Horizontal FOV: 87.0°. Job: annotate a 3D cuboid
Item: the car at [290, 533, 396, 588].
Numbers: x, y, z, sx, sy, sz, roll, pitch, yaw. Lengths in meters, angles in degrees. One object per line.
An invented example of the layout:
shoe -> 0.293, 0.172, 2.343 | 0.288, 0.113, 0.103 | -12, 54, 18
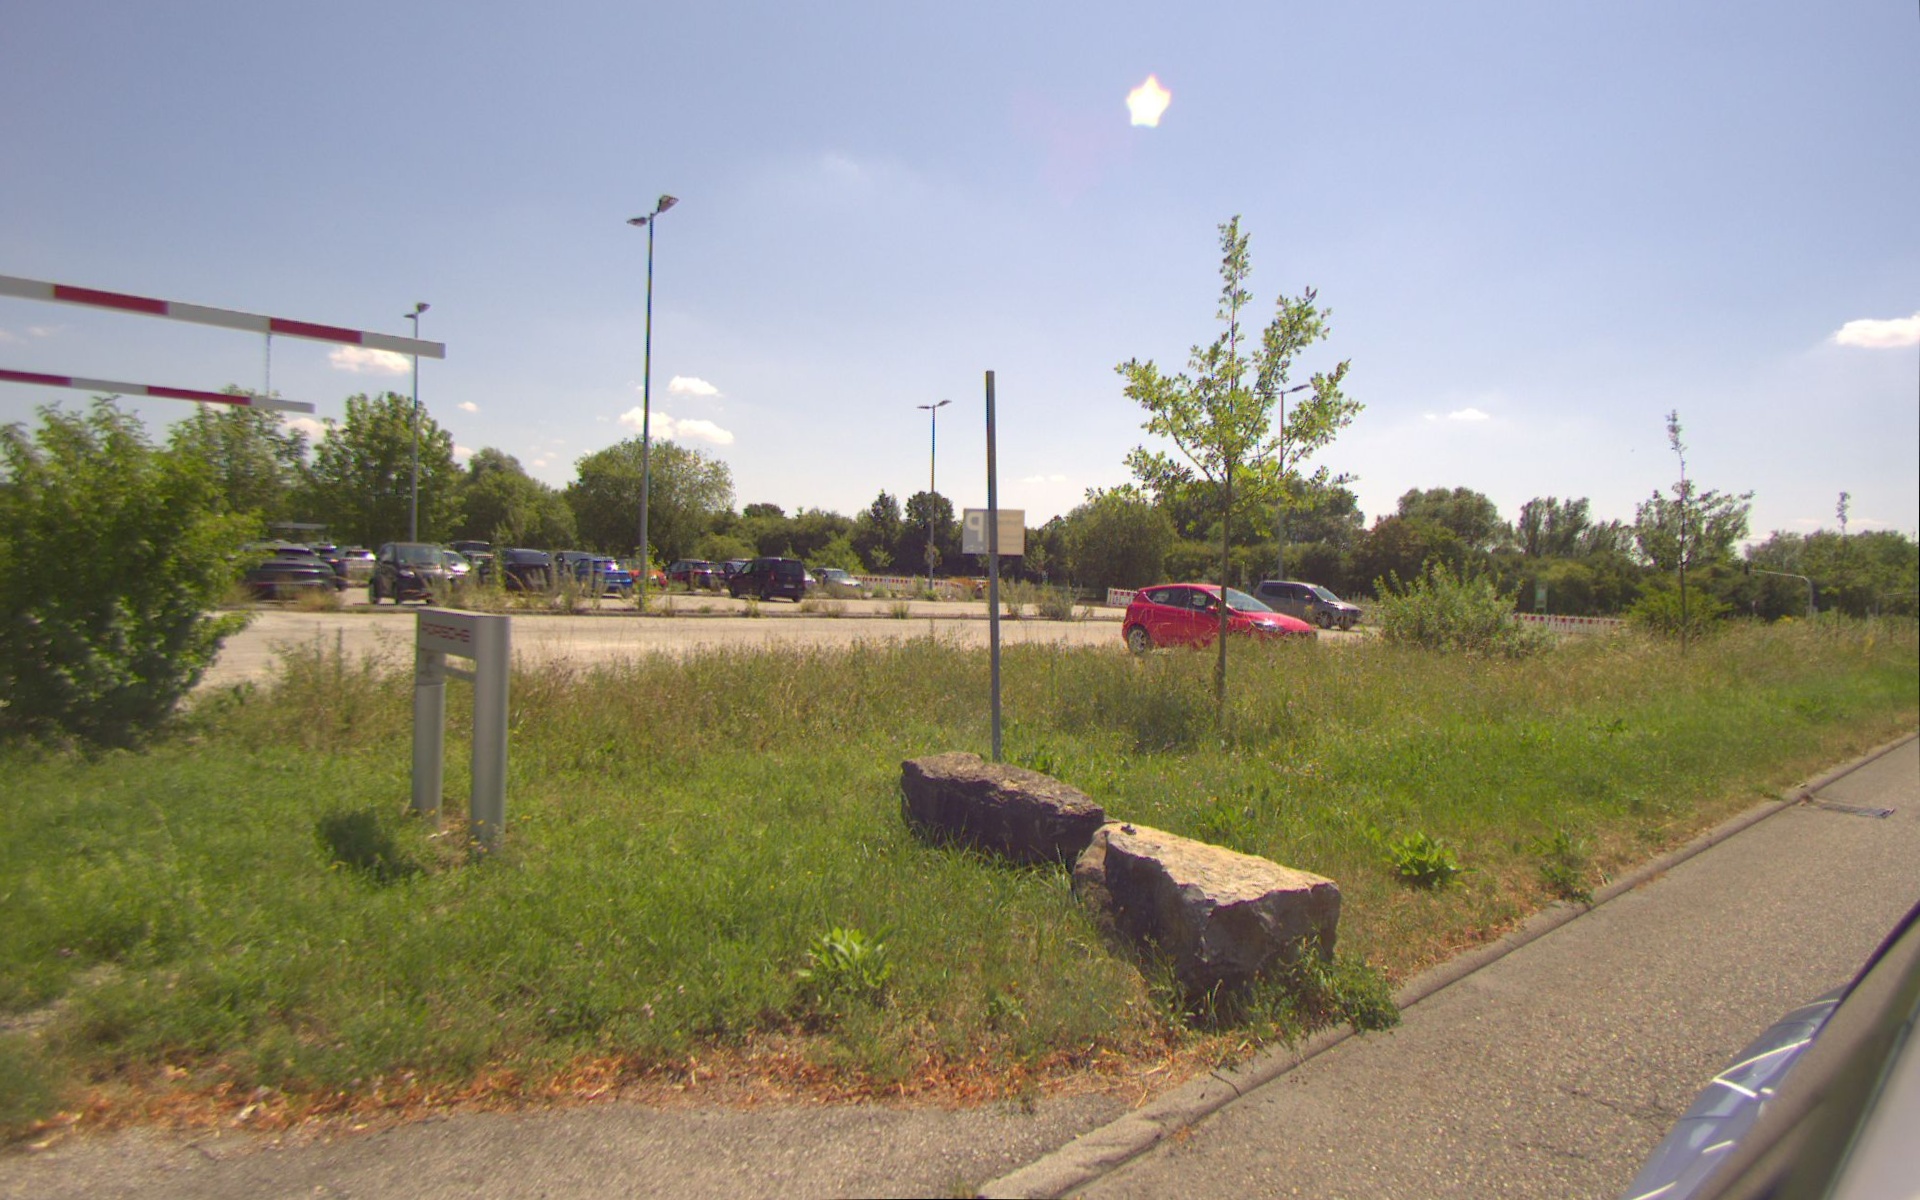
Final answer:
car -> -22.278, -1.426, 36.488 | 3.982, 1.660, 1.971 | 5, 0, 39

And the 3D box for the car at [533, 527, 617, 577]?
car -> -16.938, -2.131, 44.424 | 1.966, 1.905, 3.992 | 5, 0, -43

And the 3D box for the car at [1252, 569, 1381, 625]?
car -> 14.331, -0.154, 40.896 | 1.905, 1.938, 4.472 | 3, 2, -41

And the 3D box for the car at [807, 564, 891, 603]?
car -> -5.724, -0.854, 51.966 | 3.982, 1.660, 1.971 | 5, 0, 39

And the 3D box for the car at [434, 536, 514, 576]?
car -> -23.992, -2.172, 49.909 | 3.982, 1.660, 1.971 | 5, 0, 39

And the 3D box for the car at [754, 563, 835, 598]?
car -> -8.262, -0.981, 50.278 | 3.982, 1.438, 1.696 | 5, 0, 39

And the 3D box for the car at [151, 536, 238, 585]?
car -> -23.163, -1.214, 30.570 | 1.668, 1.357, 3.992 | 0, 3, -44

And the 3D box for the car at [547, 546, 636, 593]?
car -> -13.974, -1.159, 38.249 | 1.704, 1.482, 3.801 | 5, 0, -43

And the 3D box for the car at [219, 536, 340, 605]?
car -> -15.396, -0.695, 22.800 | 1.892, 1.412, 3.997 | 0, 2, -39

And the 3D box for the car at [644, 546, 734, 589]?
car -> -12.616, -1.508, 46.976 | 3.982, 1.660, 1.971 | 5, 0, 39

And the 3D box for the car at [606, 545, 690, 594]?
car -> -14.110, -1.387, 45.689 | 1.966, 1.905, 3.992 | 5, 0, -43

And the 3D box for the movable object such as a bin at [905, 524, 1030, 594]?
movable object such as a bin -> 0.533, -2.851, 70.638 | 7.994, 4.095, 2.973 | 5, 0, 16

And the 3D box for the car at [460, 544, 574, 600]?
car -> -15.661, -1.005, 35.722 | 3.982, 1.660, 1.971 | 5, 0, 39

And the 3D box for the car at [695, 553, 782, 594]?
car -> -10.733, -1.282, 48.893 | 3.982, 1.660, 1.971 | 5, 0, 39

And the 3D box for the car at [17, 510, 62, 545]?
car -> -60.778, -4.813, 66.870 | 1.965, 2.038, 3.995 | 5, 0, -41

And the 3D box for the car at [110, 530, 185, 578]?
car -> -27.875, -1.589, 34.687 | 1.668, 1.537, 3.992 | 0, 3, -44

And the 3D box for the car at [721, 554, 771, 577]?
car -> -15.770, -2.521, 74.768 | 1.851, 1.548, 3.978 | 3, 2, 17

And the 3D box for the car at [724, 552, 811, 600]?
car -> -8.174, -1.036, 42.796 | 1.727, 1.779, 3.994 | 2, 2, -42

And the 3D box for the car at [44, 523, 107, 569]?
car -> -36.787, -2.263, 42.159 | 1.762, 1.660, 3.996 | 5, 0, -40

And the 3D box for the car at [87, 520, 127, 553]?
car -> -58.454, -4.346, 69.328 | 1.965, 2.038, 3.995 | 5, 0, -41

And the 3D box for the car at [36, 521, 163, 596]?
car -> -18.152, -0.891, 21.450 | 1.892, 1.412, 3.997 | 0, 2, -39

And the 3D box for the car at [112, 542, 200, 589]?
car -> -33.814, -1.454, 42.537 | 3.982, 1.660, 1.971 | 5, 0, 39

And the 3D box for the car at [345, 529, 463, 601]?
car -> -14.033, -0.889, 25.453 | 1.892, 1.661, 3.997 | 0, 2, -39

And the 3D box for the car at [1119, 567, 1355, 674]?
car -> 5.225, 0.296, 19.480 | 1.892, 1.745, 3.997 | 0, 2, -39

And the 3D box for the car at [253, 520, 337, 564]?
car -> -30.072, -2.631, 45.764 | 3.982, 1.660, 1.971 | 5, 0, 39
